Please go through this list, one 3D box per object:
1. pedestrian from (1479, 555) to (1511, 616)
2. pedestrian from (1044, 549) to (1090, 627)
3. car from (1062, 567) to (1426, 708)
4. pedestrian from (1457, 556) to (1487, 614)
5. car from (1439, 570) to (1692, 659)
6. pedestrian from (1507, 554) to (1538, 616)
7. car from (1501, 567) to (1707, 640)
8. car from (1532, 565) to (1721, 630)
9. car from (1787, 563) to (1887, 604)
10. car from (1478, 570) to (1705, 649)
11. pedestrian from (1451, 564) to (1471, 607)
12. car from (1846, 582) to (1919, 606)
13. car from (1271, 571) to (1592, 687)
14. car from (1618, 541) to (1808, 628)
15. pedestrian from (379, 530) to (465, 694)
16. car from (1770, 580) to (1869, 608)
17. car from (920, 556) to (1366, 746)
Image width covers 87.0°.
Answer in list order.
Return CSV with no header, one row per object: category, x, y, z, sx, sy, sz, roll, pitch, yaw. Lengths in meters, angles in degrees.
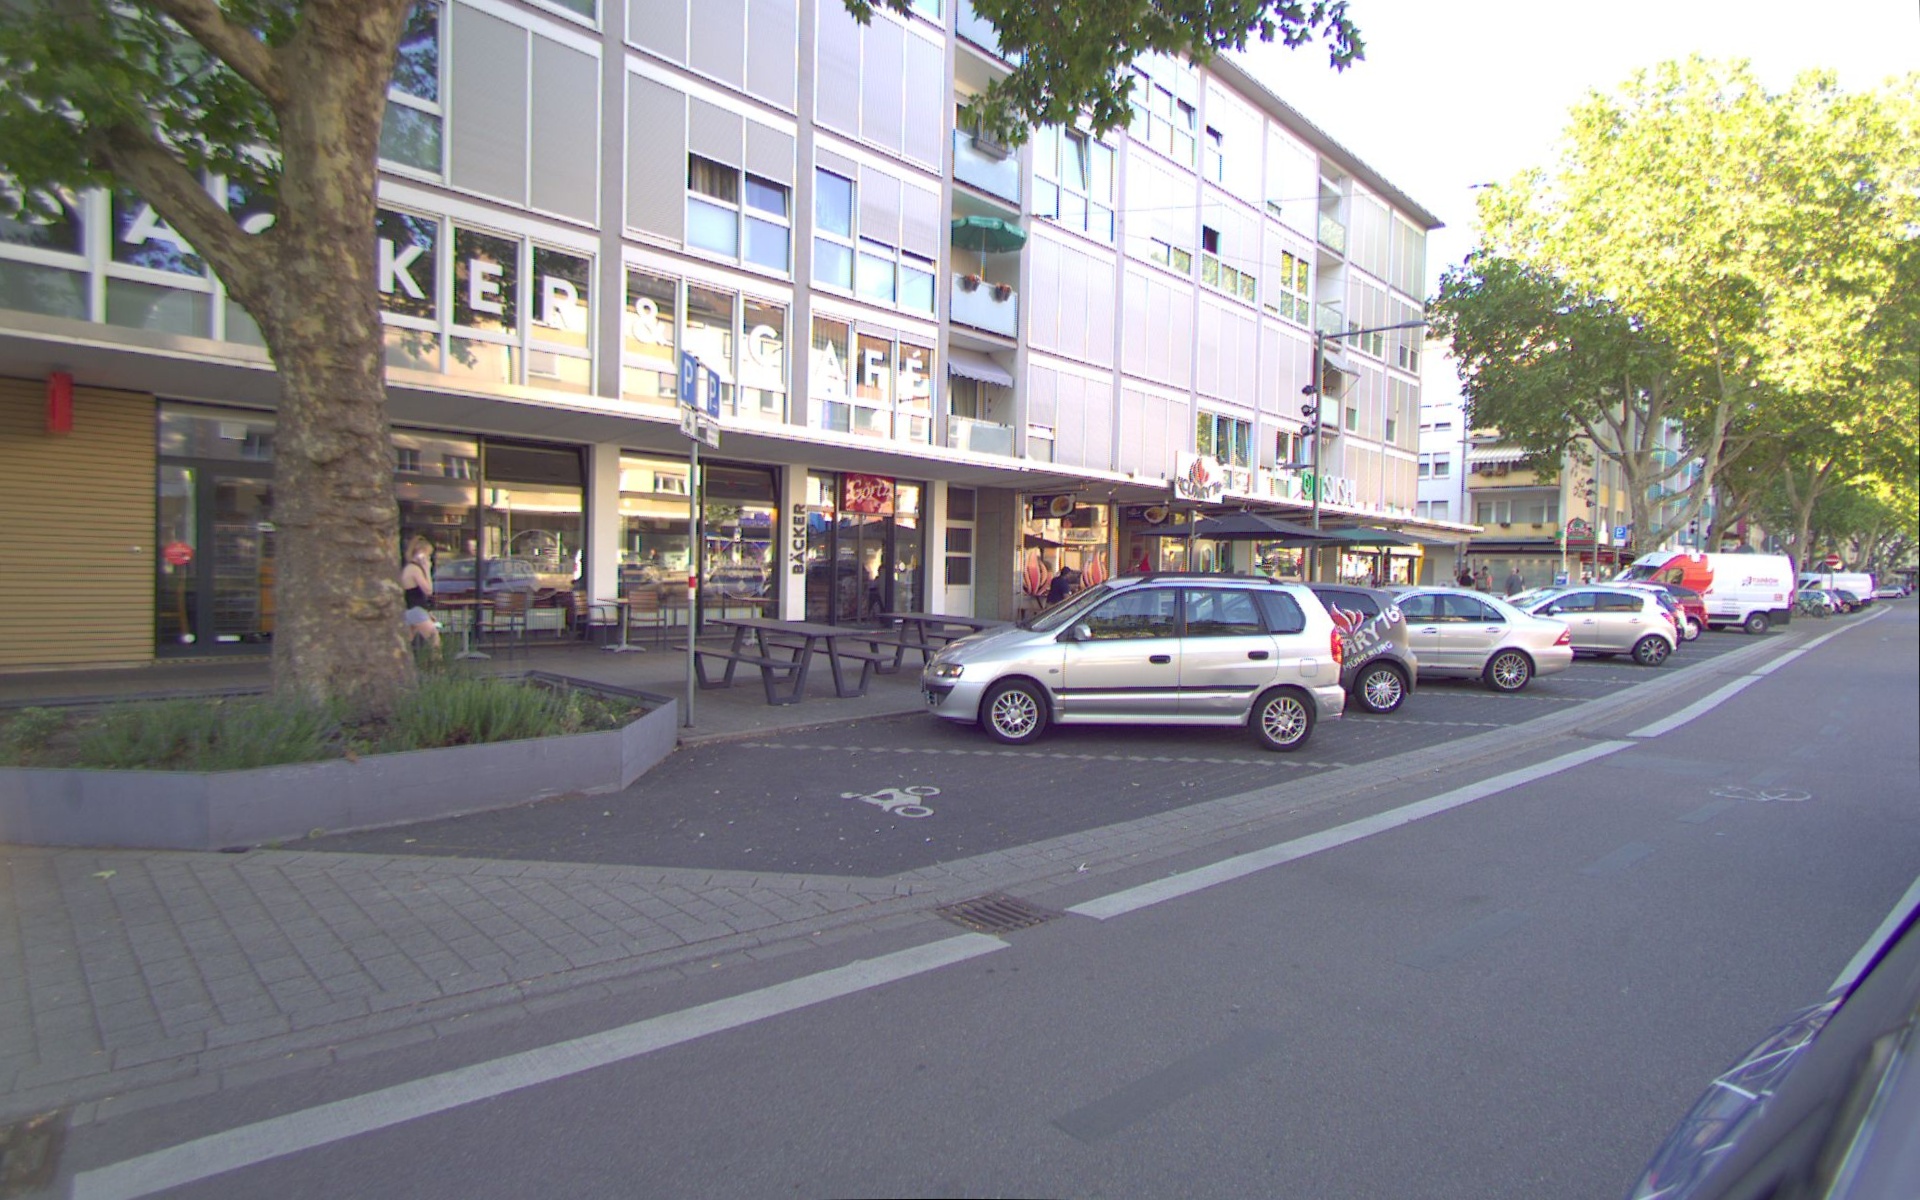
pedestrian,18.429,-0.510,34.839,0.746,2.038,0.752,2,2,45
pedestrian,2.262,-0.261,21.372,0.757,1.602,0.583,0,2,-39
car,3.323,0.404,12.328,3.864,1.446,1.679,2,3,-3
pedestrian,17.958,-0.541,35.502,0.746,2.000,0.566,2,2,45
car,11.735,0.240,19.813,3.871,1.446,1.559,3,3,4
pedestrian,18.998,-0.519,34.193,0.746,2.038,0.550,2,2,45
car,15.908,0.041,25.225,3.888,1.445,1.669,4,5,17
car,18.088,-0.106,27.673,3.888,1.445,1.669,4,5,17
car,56.393,-1.093,65.159,4.512,2.499,1.977,1,2,3
car,14.011,0.154,22.692,3.886,1.446,1.670,3,3,16
pedestrian,19.270,-0.565,38.923,0.536,1.660,0.470,2,2,45
car,56.645,-0.387,61.538,3.864,1.350,1.782,1,2,3
car,6.759,0.380,14.804,3.867,1.418,1.598,2,3,1
car,23.763,-0.514,32.065,4.514,2.525,1.675,2,1,5
pedestrian,-5.456,0.104,10.263,0.559,1.596,0.632,2,2,44
car,48.082,-0.365,56.650,3.864,1.422,1.782,1,2,3
car,1.608,0.431,9.828,3.906,1.560,1.679,2,3,-3
